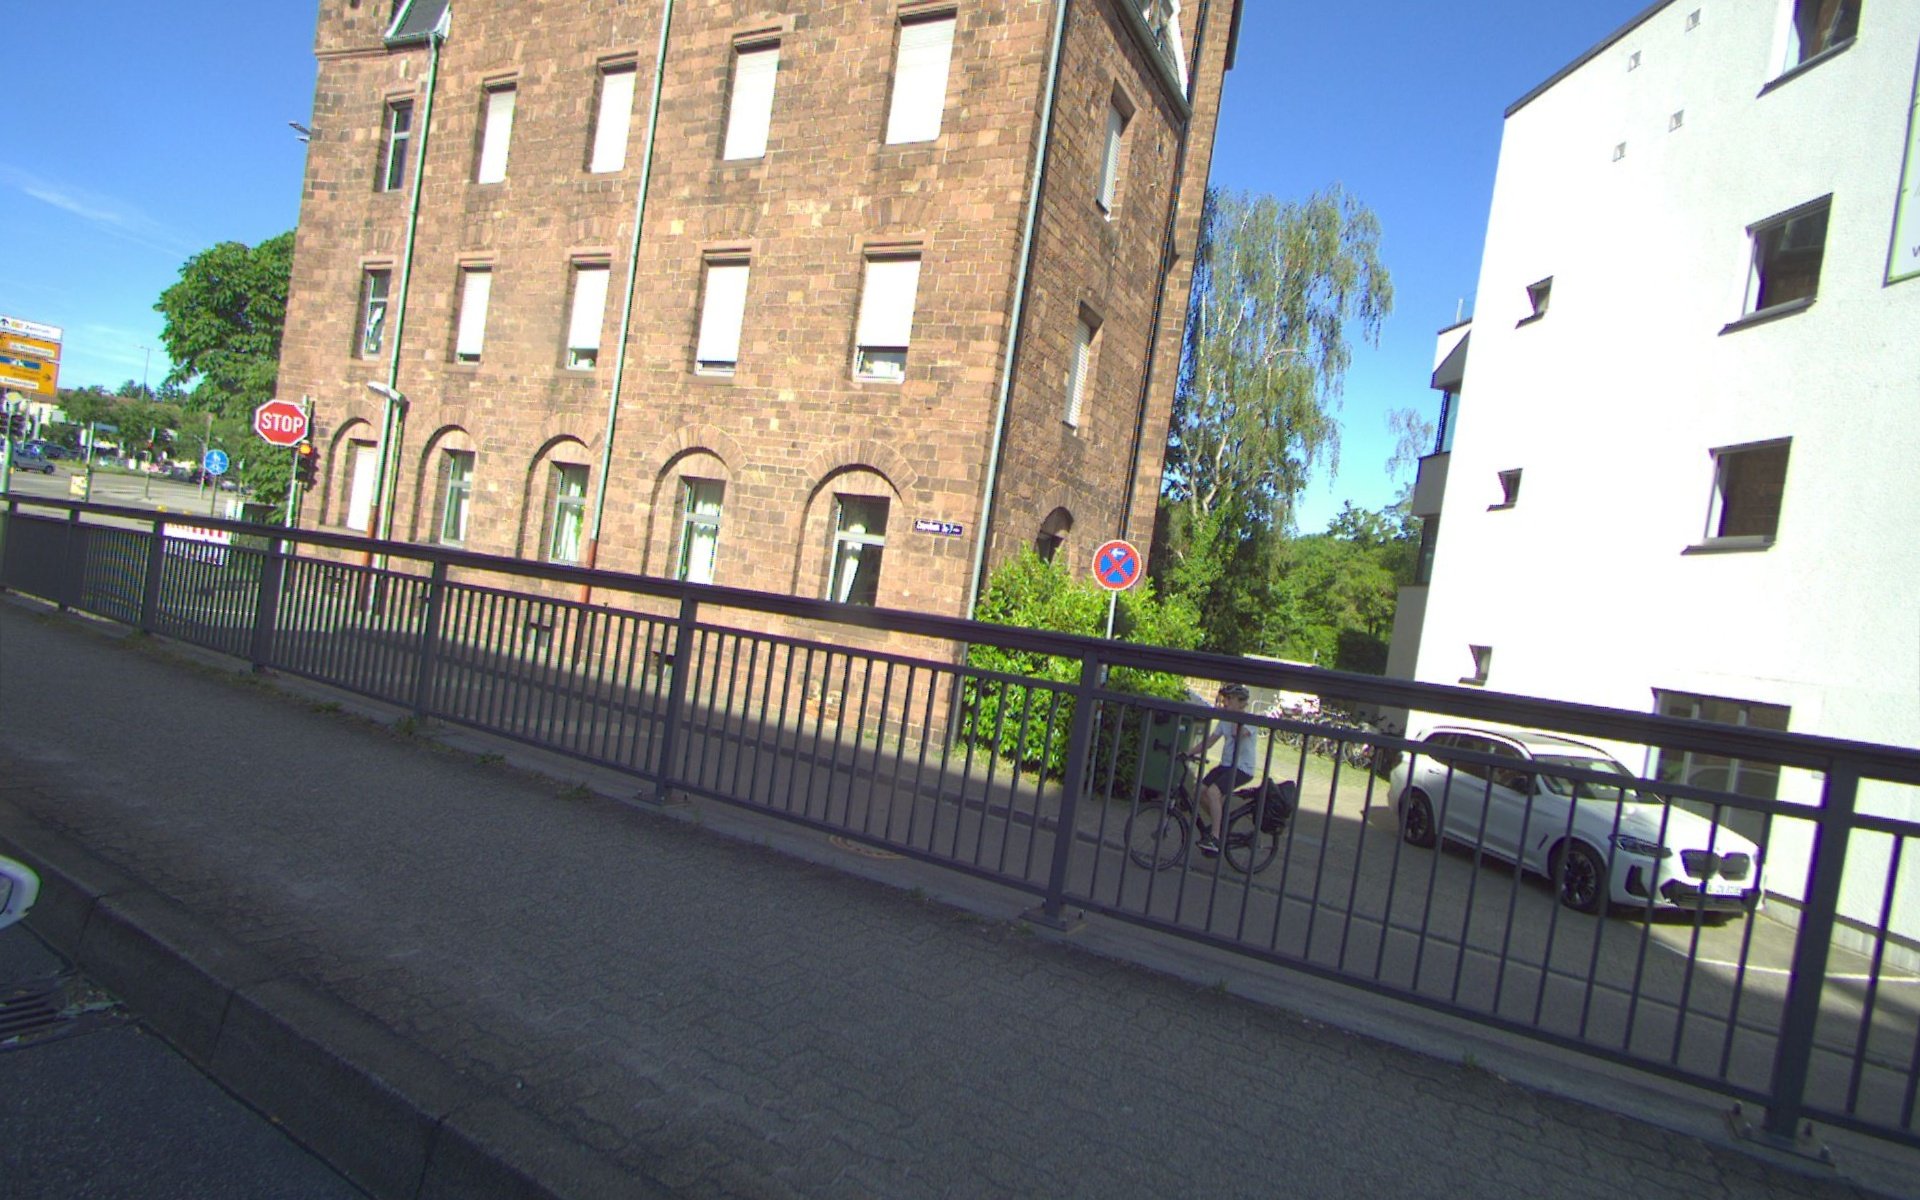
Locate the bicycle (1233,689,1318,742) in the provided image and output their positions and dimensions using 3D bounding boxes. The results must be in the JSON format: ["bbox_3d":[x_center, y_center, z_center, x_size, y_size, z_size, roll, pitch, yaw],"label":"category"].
[{"bbox_3d":[8.898,3.262,28.416,2.075,1.174,0.664,8,1,-9],"label":"bicycle"}]

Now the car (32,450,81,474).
[{"bbox_3d":[-81.486,-12.398,90.787,1.860,1.598,3.977,8,1,-22],"label":"car"}]

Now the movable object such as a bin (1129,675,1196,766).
[{"bbox_3d":[3.944,2.315,19.571,1.009,1.539,1.007,10,0,13],"label":"movable object such as a bin"}]

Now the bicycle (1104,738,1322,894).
[{"bbox_3d":[2.455,2.103,9.855,1.808,1.154,0.689,10,0,-9],"label":"bicycle"}]

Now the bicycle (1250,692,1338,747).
[{"bbox_3d":[9.148,3.263,27.566,2.075,1.174,0.664,8,1,-9],"label":"bicycle"}]

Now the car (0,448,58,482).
[{"bbox_3d":[-61.007,-8.798,64.924,1.857,1.649,3.998,8,0,-2],"label":"car"}]

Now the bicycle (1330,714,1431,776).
[{"bbox_3d":[9.405,3.236,22.519,1.889,1.065,0.664,8,1,-6],"label":"bicycle"}]

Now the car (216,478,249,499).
[{"bbox_3d":[-71.334,-10.912,98.653,1.723,1.515,3.976,7,-1,-25],"label":"car"}]

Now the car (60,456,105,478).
[{"bbox_3d":[-84.670,-12.823,97.120,1.860,1.598,3.977,8,1,-22],"label":"car"}]

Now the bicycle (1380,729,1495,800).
[{"bbox_3d":[9.464,3.260,19.976,1.889,1.065,0.664,8,1,-6],"label":"bicycle"}]

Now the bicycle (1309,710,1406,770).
[{"bbox_3d":[9.243,3.253,23.406,1.889,1.065,0.664,8,1,-6],"label":"bicycle"}]

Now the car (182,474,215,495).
[{"bbox_3d":[-78.049,-11.839,103.148,1.869,1.565,3.975,8,-2,-26],"label":"car"}]

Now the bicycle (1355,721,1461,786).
[{"bbox_3d":[9.616,3.283,21.607,1.889,1.065,0.664,8,1,-6],"label":"bicycle"}]

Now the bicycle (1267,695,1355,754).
[{"bbox_3d":[8.922,3.158,25.598,1.889,1.174,0.664,8,1,-6],"label":"bicycle"}]

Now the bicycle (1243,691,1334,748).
[{"bbox_3d":[8.654,3.157,26.529,2.075,1.174,0.664,8,1,-9],"label":"bicycle"}]

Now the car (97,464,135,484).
[{"bbox_3d":[-91.790,-13.721,109.435,1.860,1.598,3.977,8,1,-22],"label":"car"}]

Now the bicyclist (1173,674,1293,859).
[{"bbox_3d":[2.660,1.606,9.872,0.685,1.627,0.687,9,0,-8],"label":"bicyclist"}]

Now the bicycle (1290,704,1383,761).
[{"bbox_3d":[9.132,3.218,24.433,1.889,1.065,0.664,8,1,-6],"label":"bicycle"}]

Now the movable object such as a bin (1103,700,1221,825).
[{"bbox_3d":[2.541,1.996,12.620,1.011,1.307,1.005,10,0,29],"label":"movable object such as a bin"}]

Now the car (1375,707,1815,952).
[{"bbox_3d":[7.314,2.564,12.310,1.814,1.707,4.521,8,0,-10],"label":"car"}]
